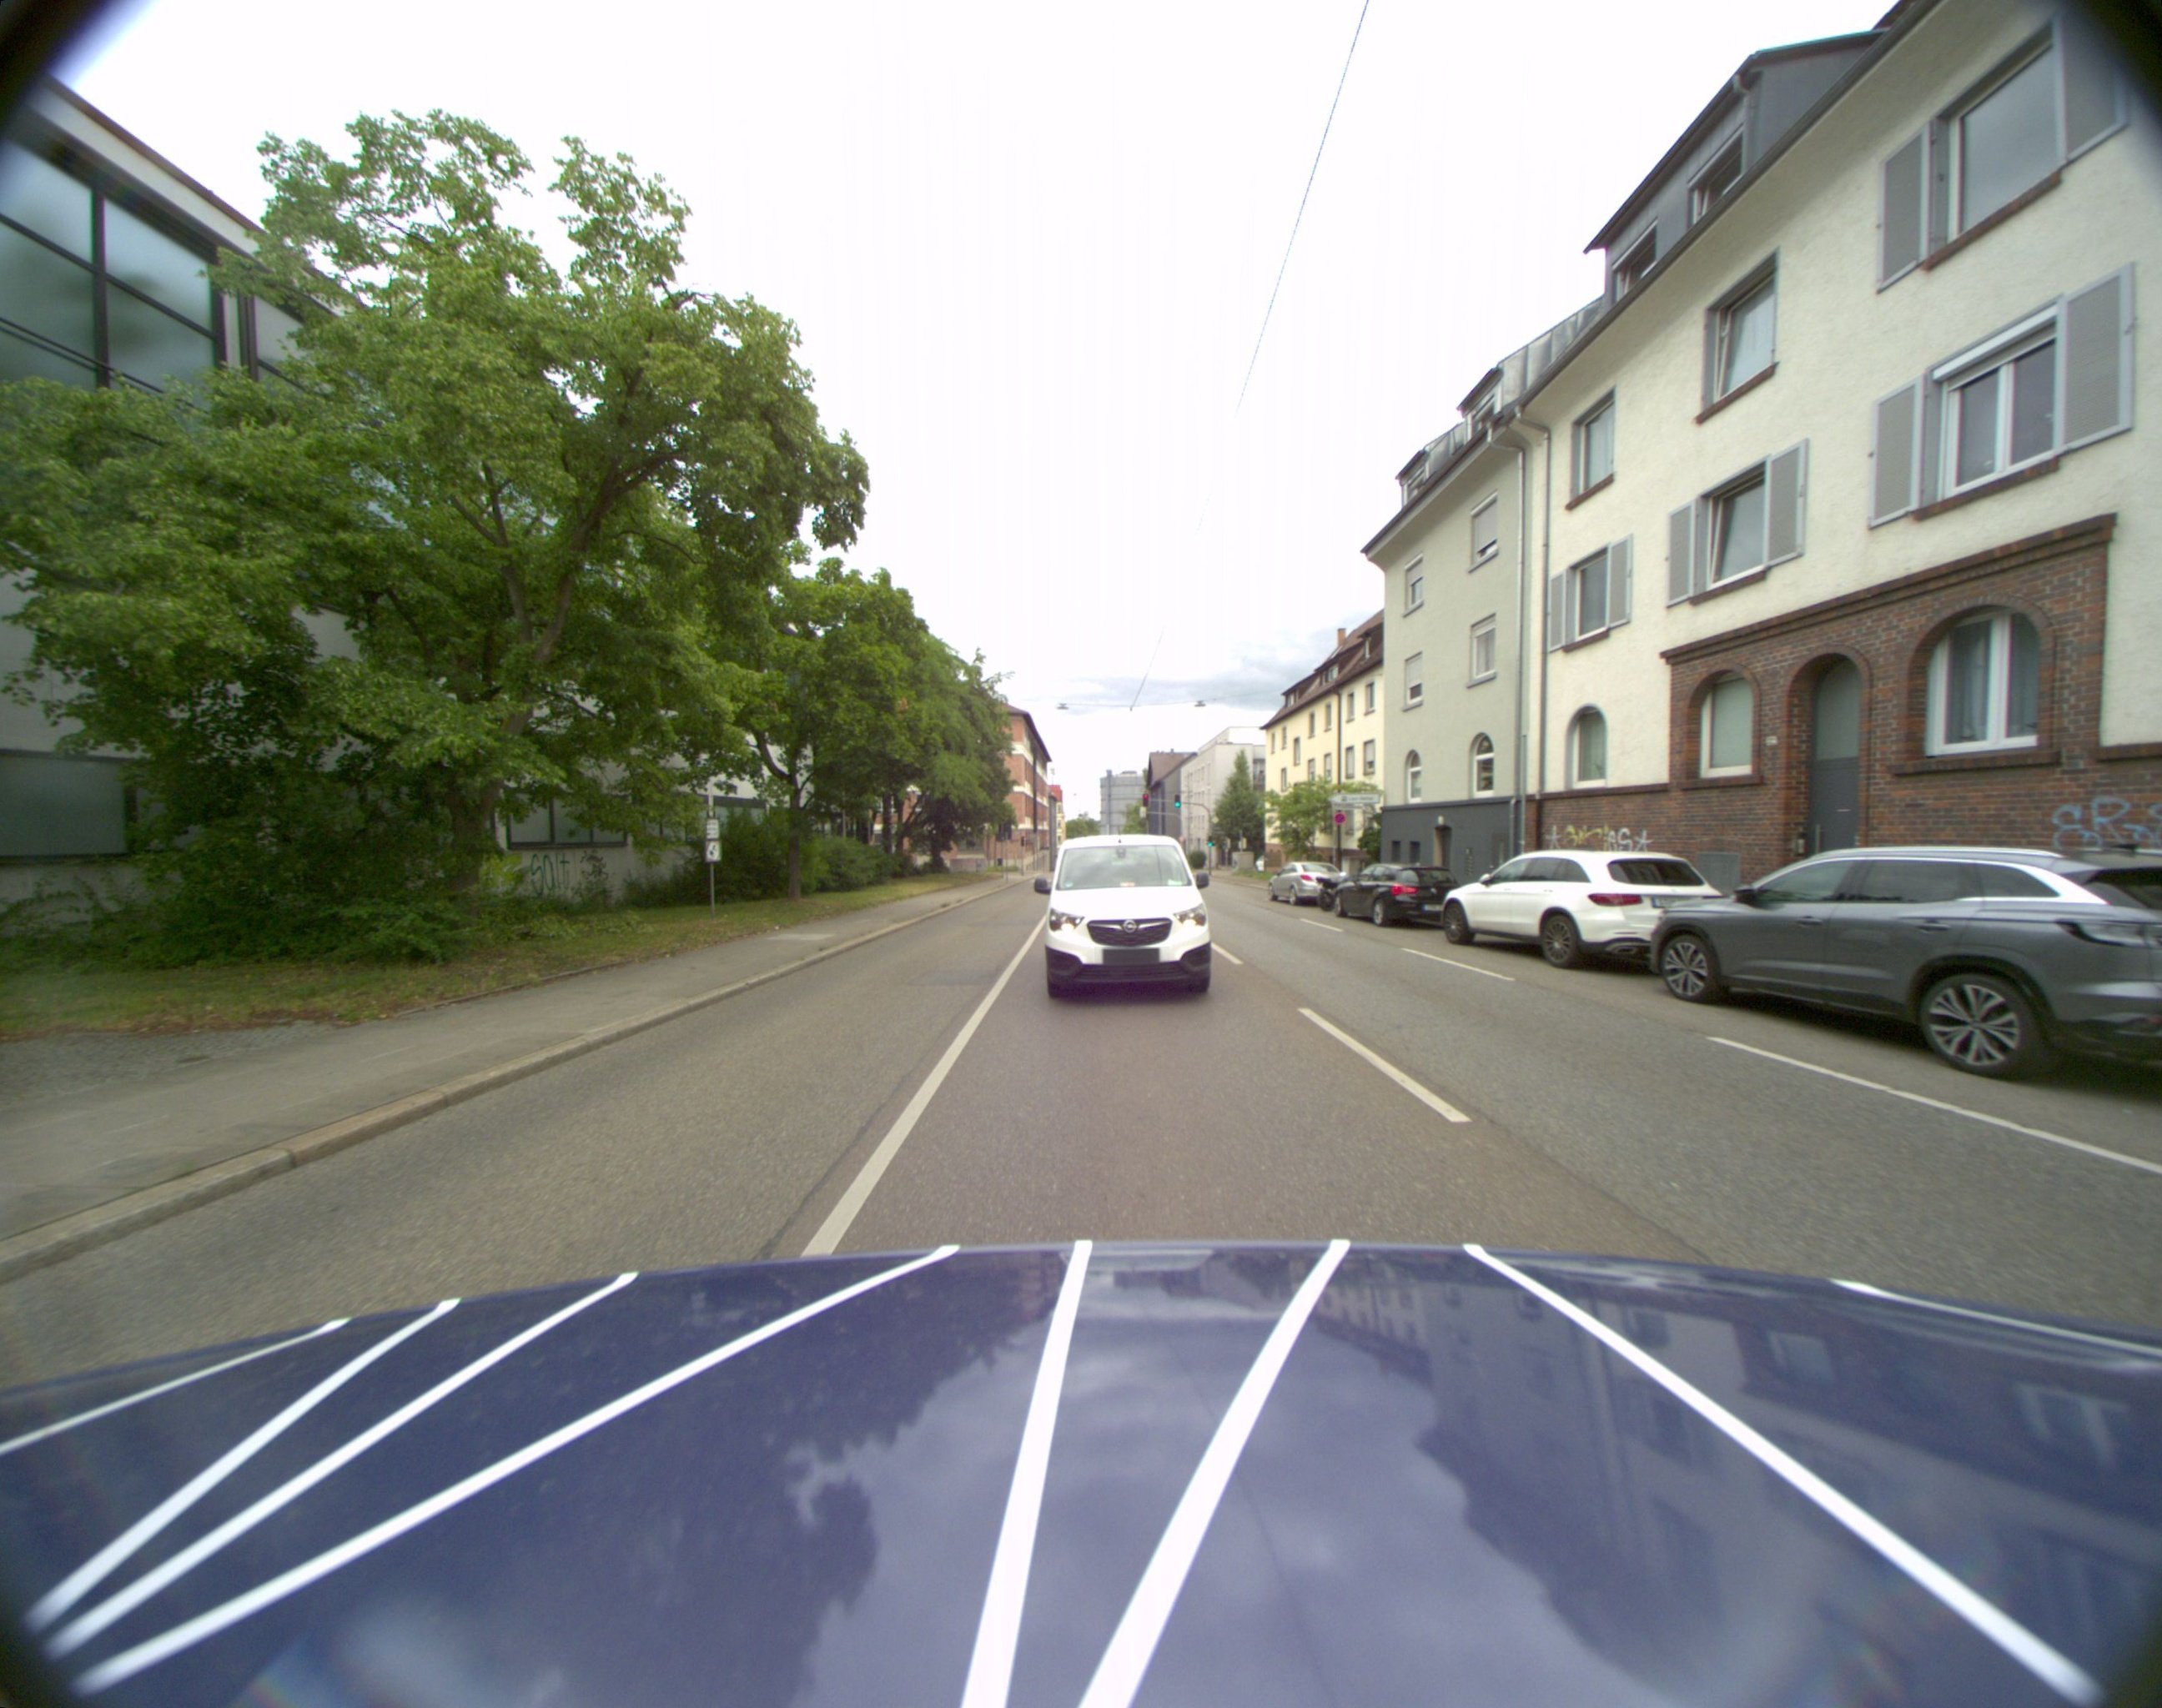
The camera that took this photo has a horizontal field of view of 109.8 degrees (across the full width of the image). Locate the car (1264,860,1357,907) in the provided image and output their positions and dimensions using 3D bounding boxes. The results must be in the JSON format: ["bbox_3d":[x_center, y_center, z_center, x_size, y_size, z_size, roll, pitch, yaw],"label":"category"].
[{"bbox_3d":[7.442,0.915,25.073,1.731,1.366,4.337,0,0,-1],"label":"car"}]

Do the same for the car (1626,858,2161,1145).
[{"bbox_3d":[7.044,0.842,6.476,1.731,1.590,4.502,0,0,3],"label":"car"}]

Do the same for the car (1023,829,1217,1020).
[{"bbox_3d":[0.418,0.734,9.561,1.850,1.831,4.284,-1,-1,1],"label":"car"}]

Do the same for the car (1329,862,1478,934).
[{"bbox_3d":[7.324,0.934,17.755,1.731,1.421,4.191,0,0,0],"label":"car"}]

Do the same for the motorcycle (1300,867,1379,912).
[{"bbox_3d":[7.407,1.007,21.794,2.048,1.228,0.806,2,0,-17],"label":"motorcycle"}]

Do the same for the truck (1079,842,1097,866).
[{"bbox_3d":[1.140,0.047,113.741,2.545,3.478,8.521,0,0,1],"label":"truck"}]

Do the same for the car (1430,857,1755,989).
[{"bbox_3d":[7.367,0.857,11.678,1.850,1.612,4.643,0,0,0],"label":"car"}]

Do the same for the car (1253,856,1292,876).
[{"bbox_3d":[15.361,0.965,61.232,1.819,1.527,4.260,1,-1,-4],"label":"car"}]
